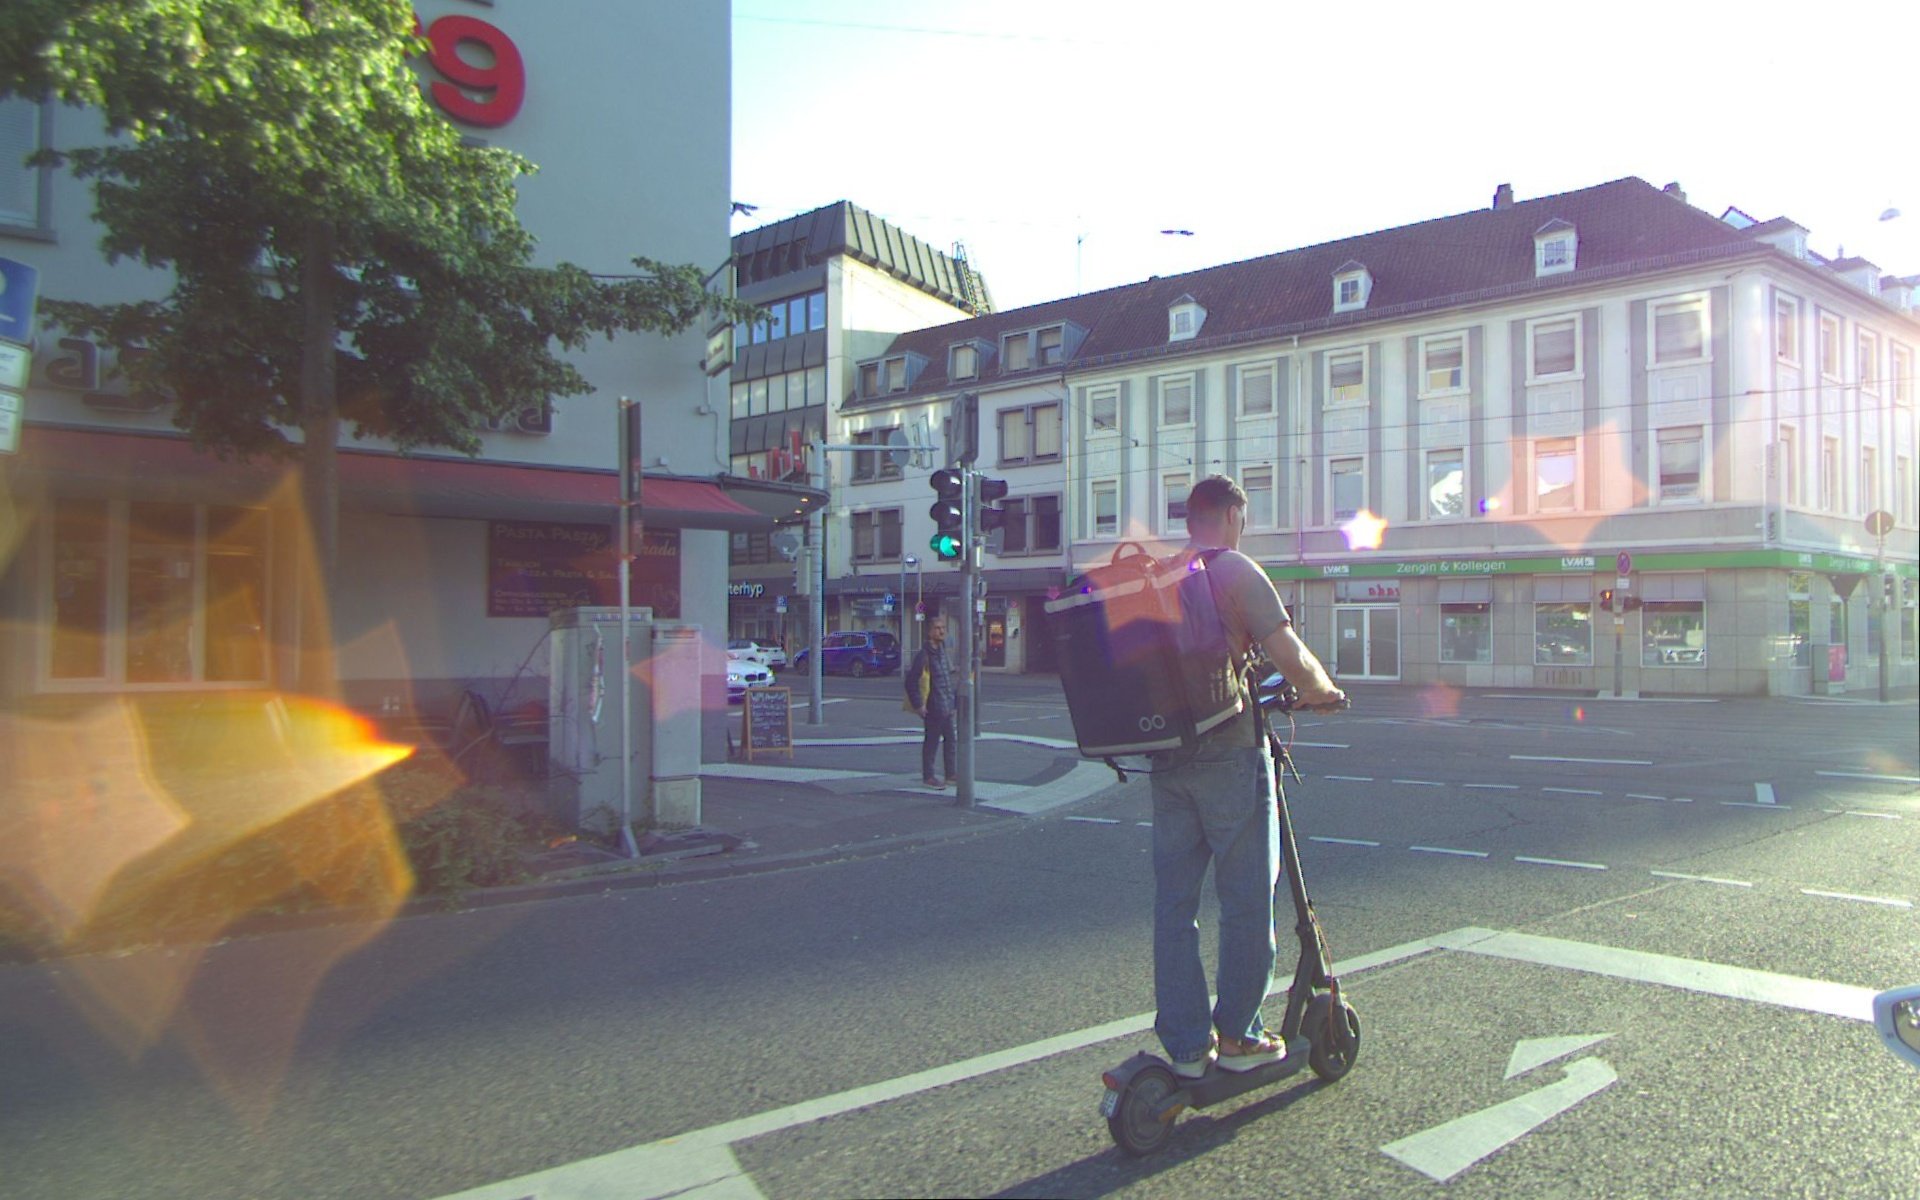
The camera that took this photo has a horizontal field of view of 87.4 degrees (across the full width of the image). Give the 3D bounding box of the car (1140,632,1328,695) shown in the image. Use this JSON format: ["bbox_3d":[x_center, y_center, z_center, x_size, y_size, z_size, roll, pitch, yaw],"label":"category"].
[{"bbox_3d":[7.112,1.608,26.402,1.883,1.499,4.487,2,-3,-42],"label":"car"}]

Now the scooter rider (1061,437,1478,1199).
[{"bbox_3d":[0.872,0.551,2.856,0.782,1.831,0.804,2,0,-41],"label":"scooter rider"}]

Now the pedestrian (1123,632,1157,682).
[{"bbox_3d":[6.131,1.930,34.249,0.821,1.662,0.804,0,-1,-39],"label":"pedestrian"}]

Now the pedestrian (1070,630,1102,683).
[{"bbox_3d":[4.344,1.931,34.541,0.800,1.751,0.825,-1,0,35],"label":"pedestrian"}]

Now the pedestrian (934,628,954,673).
[{"bbox_3d":[-0.614,1.982,39.614,0.574,1.707,0.508,1,0,34],"label":"pedestrian"}]

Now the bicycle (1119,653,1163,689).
[{"bbox_3d":[5.736,2.230,31.843,0.491,1.072,1.733,-3,-3,43],"label":"bicycle"}]

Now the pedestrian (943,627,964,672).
[{"bbox_3d":[-0.266,1.984,40.044,0.591,1.757,0.514,2,0,35],"label":"pedestrian"}]

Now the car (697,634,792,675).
[{"bbox_3d":[-9.172,2.274,42.675,3.933,1.645,1.697,-1,-1,35],"label":"car"}]

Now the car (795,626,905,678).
[{"bbox_3d":[-4.315,1.968,39.264,4.060,1.820,1.910,0,0,35],"label":"car"}]

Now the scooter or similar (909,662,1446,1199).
[{"bbox_3d":[0.675,0.876,2.670,1.657,1.368,0.539,1,-1,-42],"label":"scooter or similar"}]

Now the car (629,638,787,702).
[{"bbox_3d":[-6.187,1.652,24.572,3.687,1.376,1.908,-1,-1,38],"label":"car"}]

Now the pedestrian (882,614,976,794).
[{"bbox_3d":[-0.295,0.979,9.836,0.576,1.678,0.798,0,-2,31],"label":"pedestrian"}]
